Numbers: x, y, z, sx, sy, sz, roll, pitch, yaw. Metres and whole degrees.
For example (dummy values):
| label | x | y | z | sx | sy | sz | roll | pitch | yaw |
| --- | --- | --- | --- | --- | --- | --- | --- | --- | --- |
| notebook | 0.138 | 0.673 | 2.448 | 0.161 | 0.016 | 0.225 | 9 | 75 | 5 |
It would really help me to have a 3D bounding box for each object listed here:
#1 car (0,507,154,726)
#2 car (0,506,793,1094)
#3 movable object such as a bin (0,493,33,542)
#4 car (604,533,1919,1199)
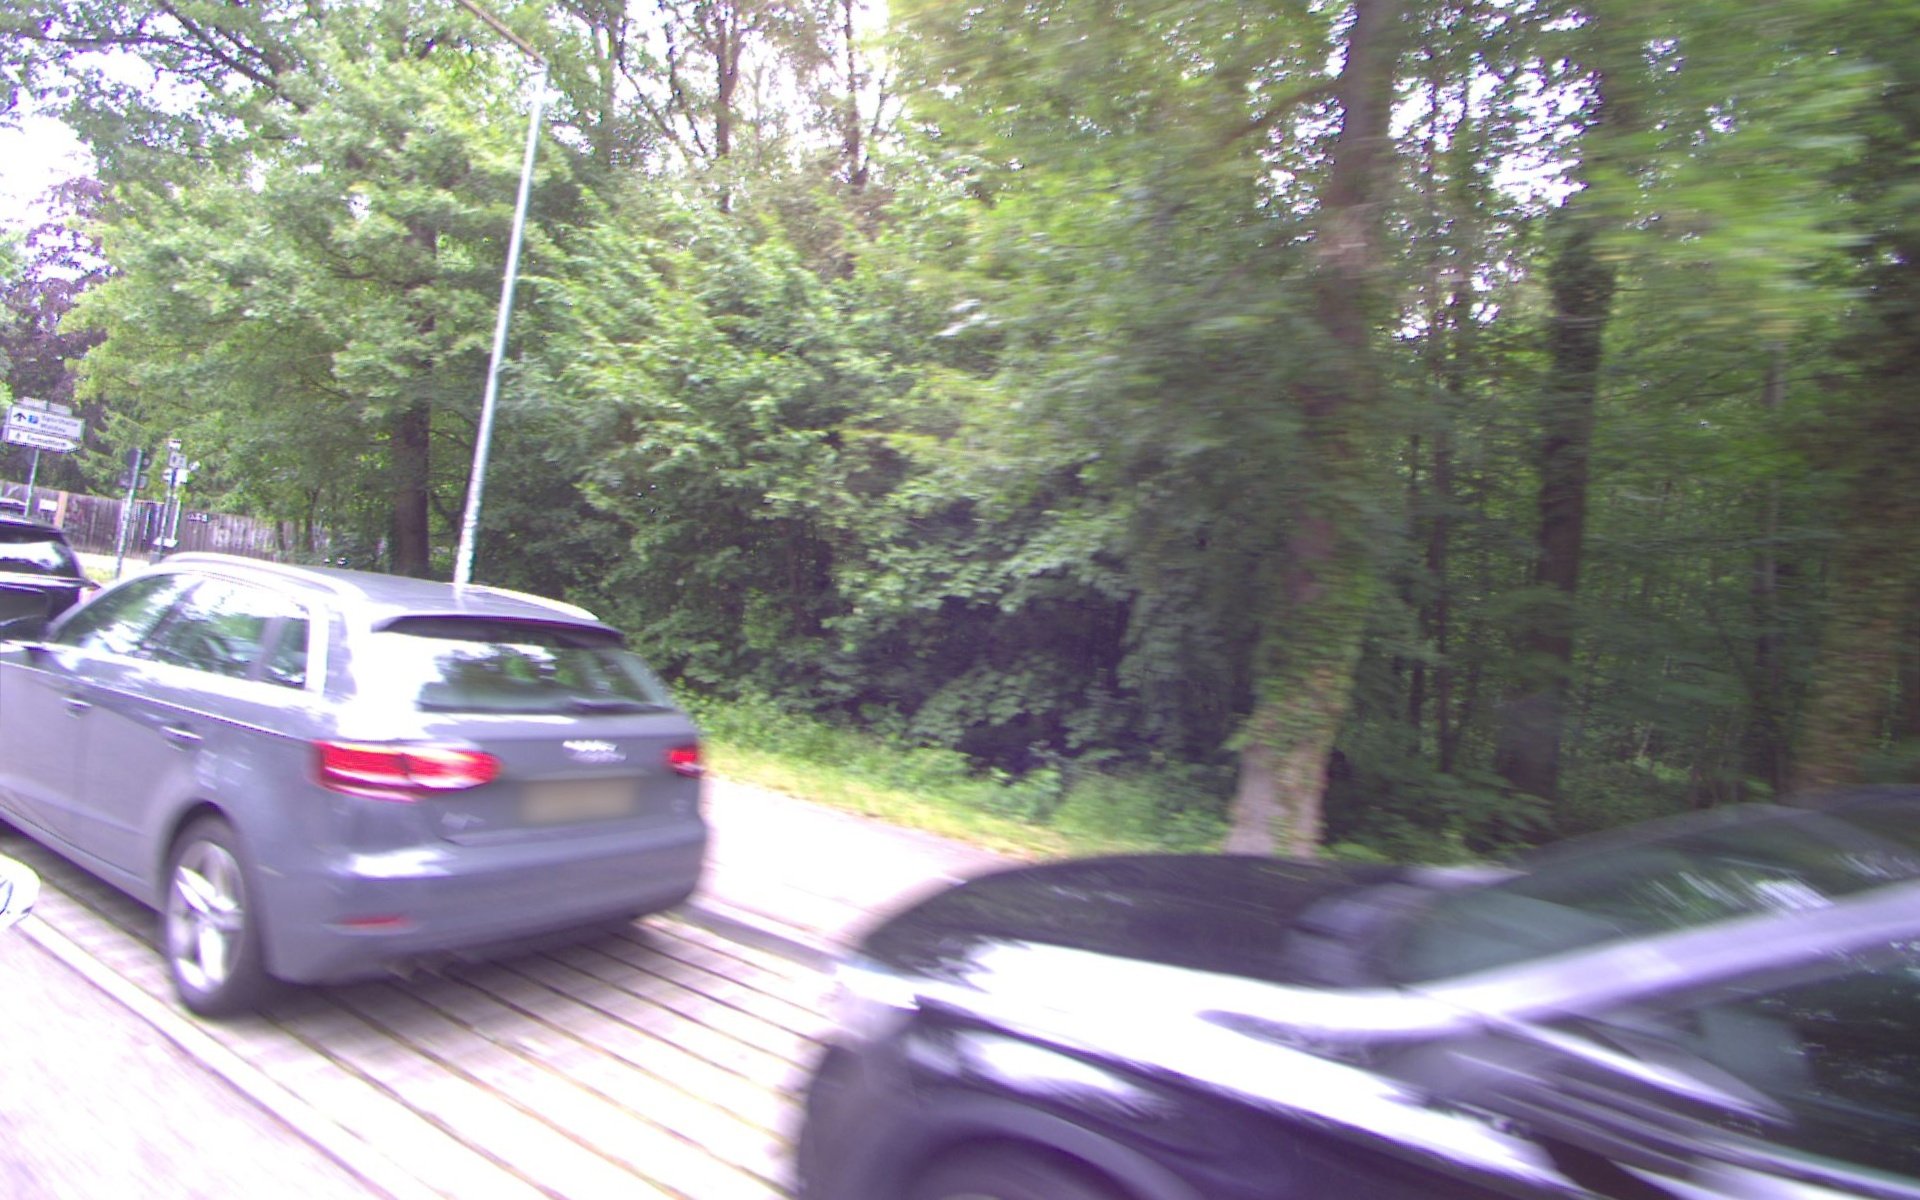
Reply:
| label | x | y | z | sx | sy | sz | roll | pitch | yaw |
| --- | --- | --- | --- | --- | --- | --- | --- | --- | --- |
| car | -8.286 | -0.106 | 7.812 | 4.428 | 1.448 | 1.739 | 7 | -2 | 33 |
| car | -3.105 | 0.486 | 4.617 | 4.427 | 1.448 | 1.740 | 7 | -2 | 31 |
| movable object such as a bin | -31.335 | -2.751 | 32.744 | 1.061 | 1.459 | 1.284 | 8 | -2 | -13 |
| car | 1.618 | 0.967 | 1.648 | 4.309 | 1.607 | 1.740 | 7 | -2 | 31 |
